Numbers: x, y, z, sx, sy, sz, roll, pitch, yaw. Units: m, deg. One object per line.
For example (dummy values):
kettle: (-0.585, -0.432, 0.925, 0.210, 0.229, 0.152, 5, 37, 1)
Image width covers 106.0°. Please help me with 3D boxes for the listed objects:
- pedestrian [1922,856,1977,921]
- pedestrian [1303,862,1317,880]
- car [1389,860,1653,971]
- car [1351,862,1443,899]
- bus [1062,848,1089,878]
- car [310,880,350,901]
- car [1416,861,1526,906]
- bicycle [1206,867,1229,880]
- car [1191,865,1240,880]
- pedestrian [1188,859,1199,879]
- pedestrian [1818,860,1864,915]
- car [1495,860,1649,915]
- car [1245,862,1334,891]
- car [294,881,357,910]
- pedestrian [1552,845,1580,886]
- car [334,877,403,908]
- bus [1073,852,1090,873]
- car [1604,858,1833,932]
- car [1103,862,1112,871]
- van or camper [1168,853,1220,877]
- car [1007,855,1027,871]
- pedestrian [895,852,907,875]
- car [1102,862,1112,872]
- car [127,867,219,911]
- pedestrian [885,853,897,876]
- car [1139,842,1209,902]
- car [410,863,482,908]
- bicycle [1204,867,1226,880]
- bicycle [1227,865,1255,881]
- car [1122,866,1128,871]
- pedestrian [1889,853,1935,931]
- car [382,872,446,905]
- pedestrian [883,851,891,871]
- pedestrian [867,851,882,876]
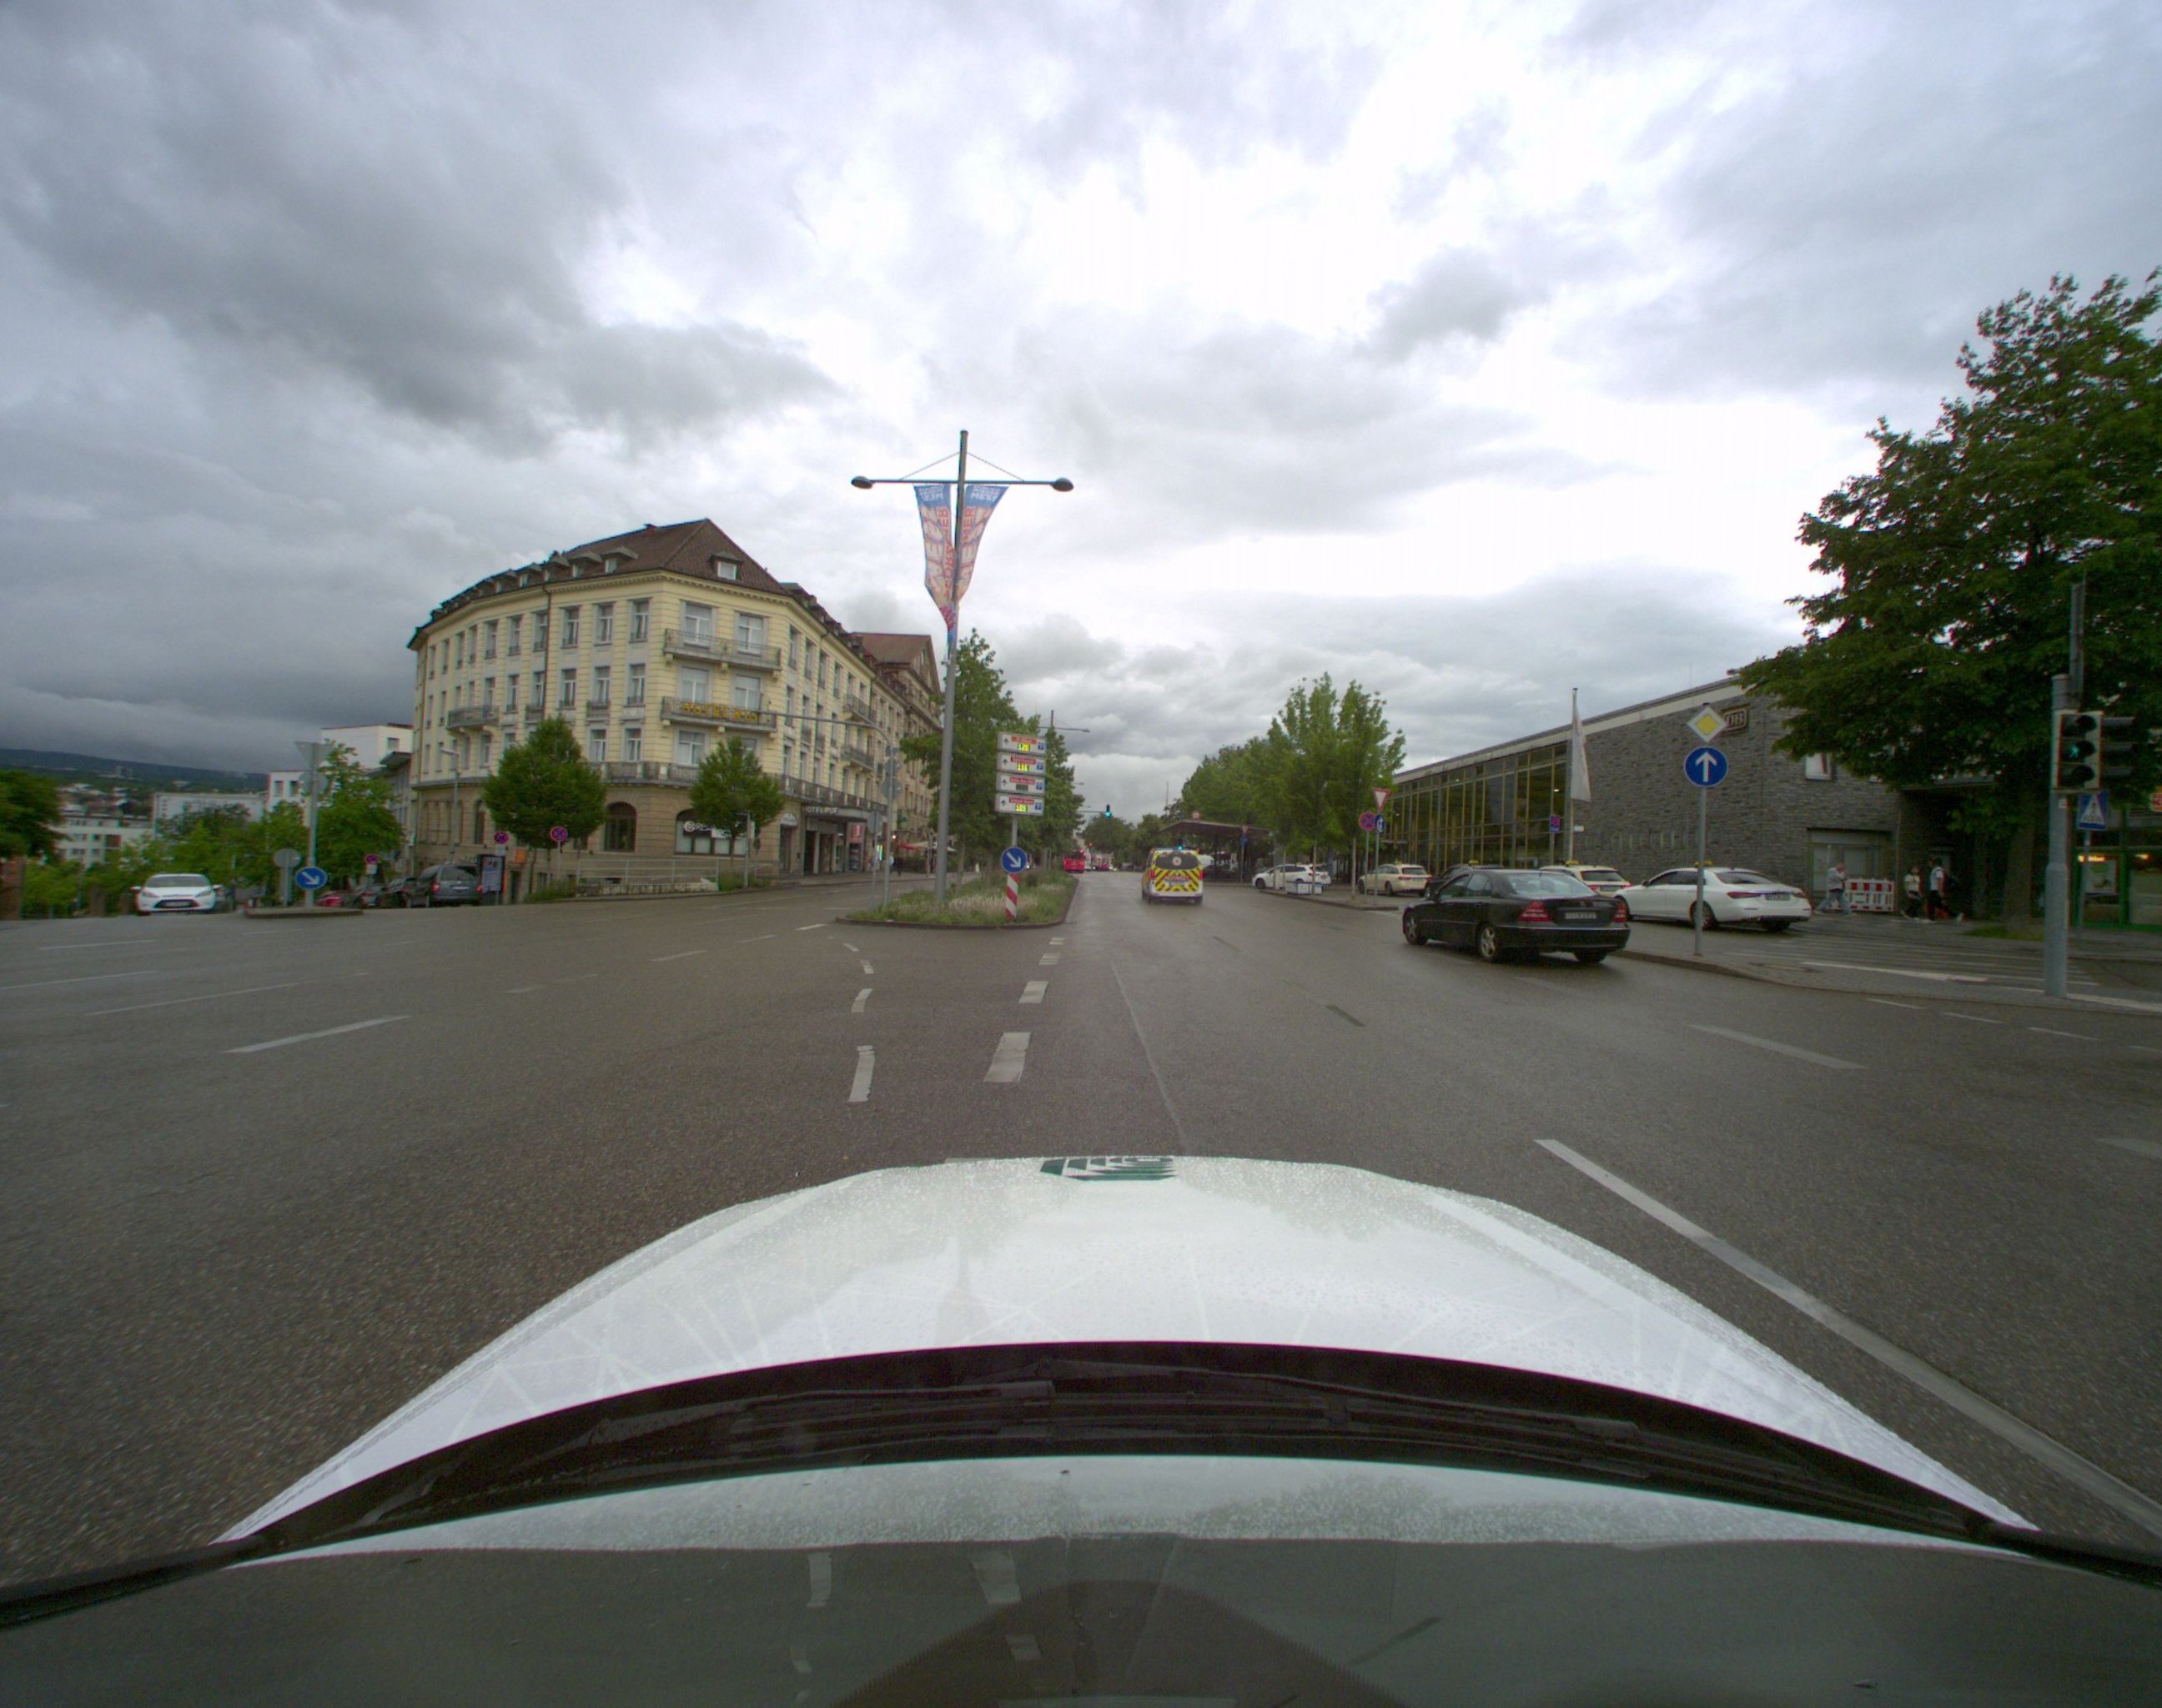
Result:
pedestrian: (22.986, 0.907, 21.552, 0.646, 1.667, 0.772, 0, -2, -21)
pedestrian: (19.455, 1.447, 69.254, 0.864, 1.559, 0.812, 0, -1, -6)
car: (6.743, 0.860, 13.137, 1.690, 1.466, 4.447, 0, -1, -3)
car: (14.897, 1.197, 38.694, 1.992, 1.599, 4.946, 0, -1, -7)
bus: (-0.782, 1.253, 112.958, 3.534, 3.980, 11.167, 0, -1, 0)
car: (-55.026, 2.646, 59.666, 3.949, 1.478, 1.781, -1, -1, 42)
car: (15.327, 1.091, 32.332, 1.987, 1.599, 4.957, 1, -1, 0)
bicycle: (10.956, 1.589, 65.554, 1.832, 1.056, 0.418, 0, -1, -18)
car: (12.584, 1.699, 76.334, 4.198, 1.325, 1.828, 1, -2, -19)
pedestrian: (10.137, 1.341, 73.522, 0.853, 1.835, 1.190, 0, -2, 0)
pedestrian: (22.628, 0.988, 24.253, 0.703, 1.580, 0.774, -1, -1, 16)
car: (15.418, 0.986, 25.968, 1.986, 1.599, 4.959, 0, -1, 1)
car: (11.535, 1.236, 45.314, 1.772, 1.546, 4.722, 2, -2, -39)
car: (-41.327, 2.228, 44.510, 3.958, 1.478, 1.781, -1, -1, 36)
pedestrian: (19.407, 0.453, 32.580, 0.727, 1.626, 0.788, 1, -2, -44)
car: (-36.134, 1.906, 41.257, 3.948, 1.478, 1.781, -1, -1, 36)
bus: (0.044, 1.616, 148.051, 2.797, 3.747, 10.440, 0, -1, -1)
car: (15.333, 0.924, 20.043, 1.873, 1.599, 4.903, 0, -1, 1)
car: (5.917, 2.738, 182.626, 1.986, 2.014, 4.000, 0, -1, 1)
van or camper: (13.420, 1.322, 96.806, 5.978, 2.763, 2.179, 0, -1, -27)
car: (-8.144, 1.157, 103.642, 1.985, 2.014, 5.004, 0, -1, 2)
pedestrian: (-13.200, 0.701, 59.748, 0.679, 1.664, 0.807, 0, -1, 1)
car: (5.257, 2.691, 166.865, 1.986, 2.014, 4.000, 0, -1, 1)
car: (-30.802, 1.152, 27.602, 3.948, 1.398, 1.645, -1, -1, 36)
pedestrian: (-13.927, 0.741, 59.758, 0.678, 1.664, 0.808, 0, -1, 4)
car: (3.300, 0.644, 29.858, 1.987, 2.014, 5.060, 0, -1, 0)
car: (-26.791, 1.268, 34.326, 3.949, 1.759, 1.645, 0, -1, 41)
bicycle: (10.853, 1.597, 66.003, 1.832, 1.056, 0.418, 0, -1, -18)
bicycle: (11.204, 1.334, 57.050, 1.821, 1.056, 0.420, 0, -1, 0)
car: (12.808, 4.216, 239.147, 1.589, 1.561, 3.650, 0, -1, 1)
pedestrian: (23.613, 1.065, 23.145, 0.800, 2.164, 0.716, 1, -1, -30)
car: (-31.585, 1.600, 38.535, 3.949, 1.398, 1.645, 0, -1, 41)
pedestrian: (-16.391, 0.616, 68.837, 0.666, 1.664, 0.535, 0, -1, -8)
pedestrian: (-14.827, 0.696, 58.475, 0.876, 1.813, 0.750, 0, -1, 0)
